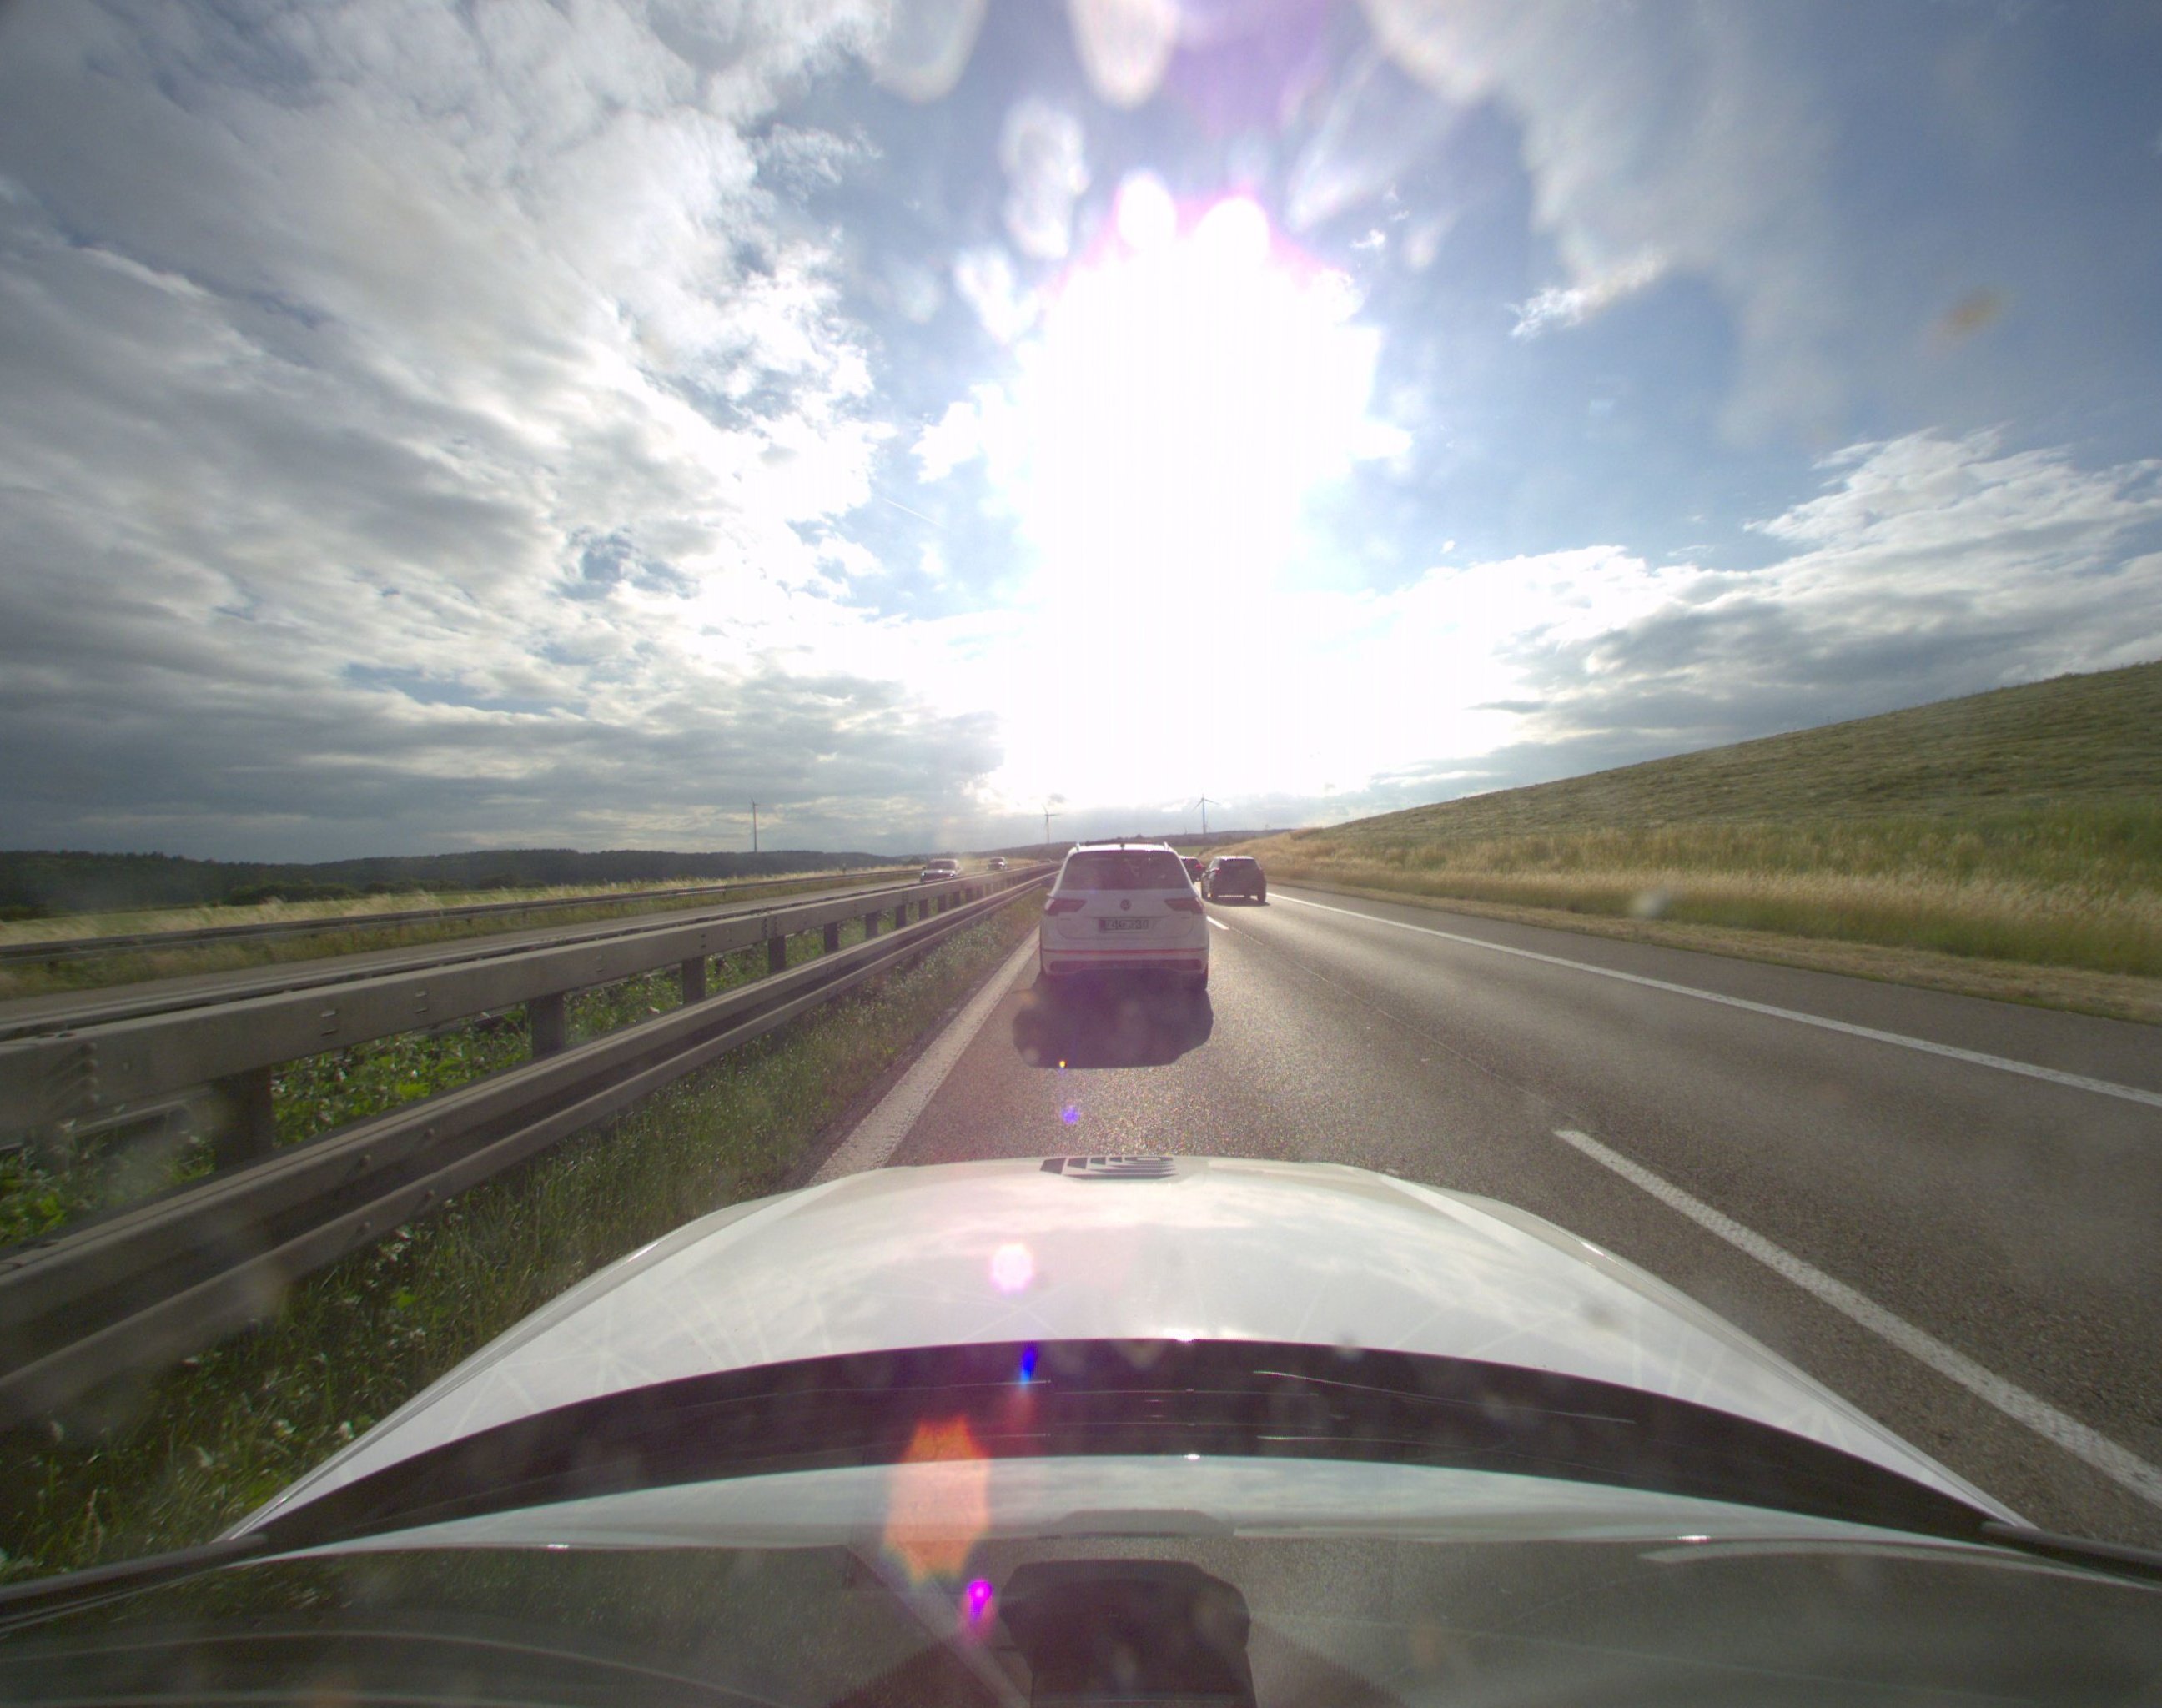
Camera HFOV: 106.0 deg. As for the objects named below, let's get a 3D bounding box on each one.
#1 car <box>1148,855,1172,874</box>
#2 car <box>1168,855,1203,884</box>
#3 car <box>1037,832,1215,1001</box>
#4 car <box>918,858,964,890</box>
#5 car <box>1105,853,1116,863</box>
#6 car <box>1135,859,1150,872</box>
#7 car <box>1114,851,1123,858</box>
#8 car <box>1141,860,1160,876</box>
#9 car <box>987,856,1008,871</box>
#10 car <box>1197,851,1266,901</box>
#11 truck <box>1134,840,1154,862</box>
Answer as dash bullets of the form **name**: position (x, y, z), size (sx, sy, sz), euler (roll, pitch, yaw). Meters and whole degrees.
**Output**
- **car**: position (6.552, 0.861, 67.962), size (1.697, 1.546, 4.001), euler (0, -1, 2)
- **car**: position (6.251, 0.897, 49.144), size (1.697, 1.650, 4.001), euler (0, -1, 2)
- **car**: position (0.512, 0.641, 10.145), size (1.763, 1.675, 4.001), euler (0, -1, 2)
- **car**: position (-7.237, 1.019, 42.454), size (1.610, 1.585, 4.065), euler (0, -1, 1)
- **car**: position (4.884, 0.710, 134.926), size (1.697, 1.650, 4.001), euler (0, -1, 2)
- **car**: position (7.724, 1.413, 102.852), size (1.697, 1.546, 4.001), euler (0, -1, 2)
- **car**: position (7.633, 0.124, 164.995), size (1.697, 1.546, 4.001), euler (0, -1, 2)
- **car**: position (6.864, 1.408, 80.681), size (1.697, 1.546, 4.001), euler (0, -1, 2)
- **car**: position (-8.448, 0.936, 82.729), size (1.610, 1.521, 4.000), euler (0, -1, 1)
- **car**: position (4.975, 0.713, 27.357), size (1.697, 1.546, 4.001), euler (0, -1, 2)
- **truck**: position (10.483, -0.530, 137.253), size (3.170, 3.594, 11.141), euler (0, 0, 4)
